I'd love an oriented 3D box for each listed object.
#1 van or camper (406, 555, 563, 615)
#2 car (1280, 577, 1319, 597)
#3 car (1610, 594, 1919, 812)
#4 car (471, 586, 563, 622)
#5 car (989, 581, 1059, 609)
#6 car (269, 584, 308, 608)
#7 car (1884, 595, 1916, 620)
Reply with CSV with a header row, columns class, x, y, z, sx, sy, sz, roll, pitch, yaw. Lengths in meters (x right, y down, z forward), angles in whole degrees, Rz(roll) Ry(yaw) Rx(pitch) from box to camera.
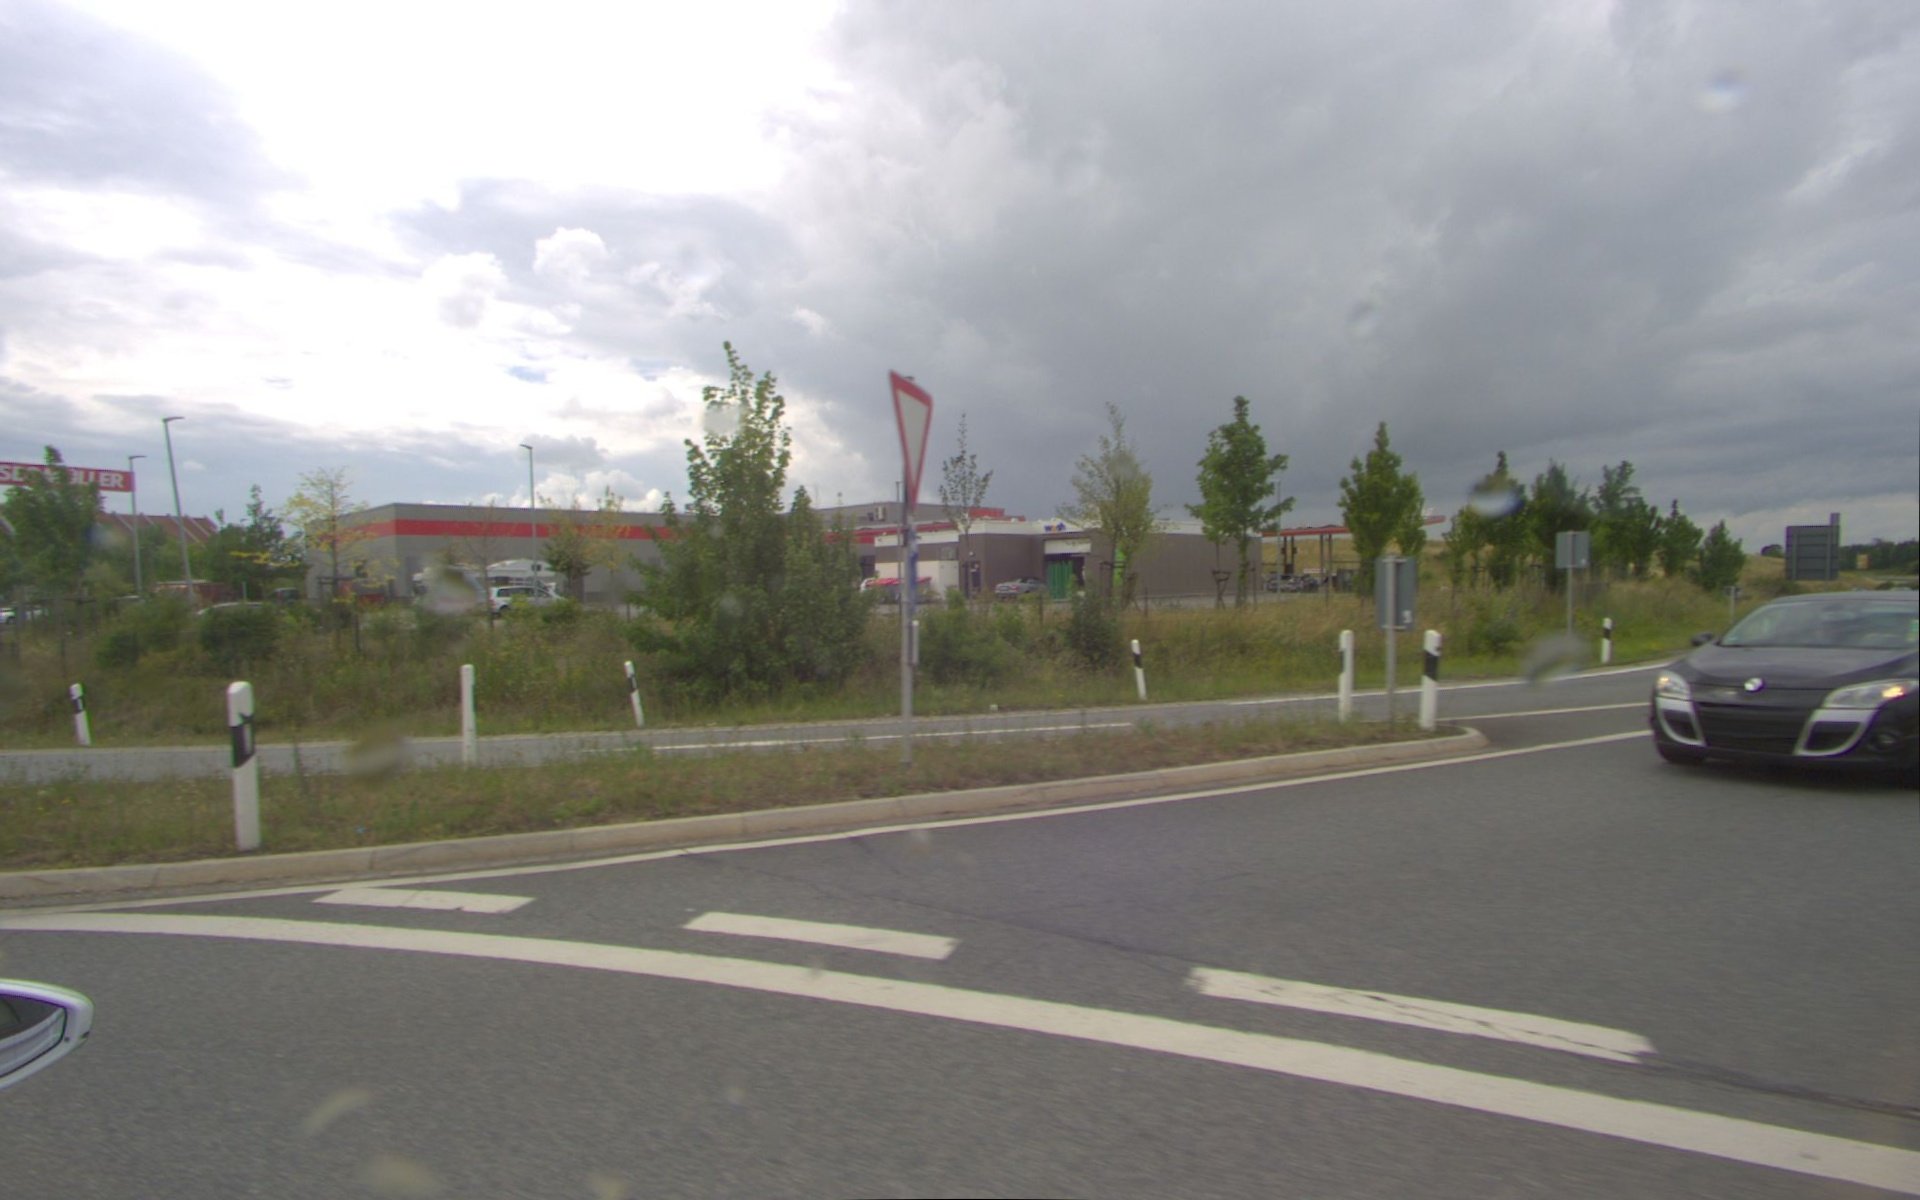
class,x,y,z,sx,sy,sz,roll,pitch,yaw
van or camper,-27.008,-0.939,57.146,2.466,3.222,7.664,1,3,44
car,27.311,-1.058,80.516,1.779,1.558,3.633,-2,0,40
car,7.391,0.660,8.325,4.088,1.388,1.833,-1,0,-33
car,-22.898,0.189,51.838,4.018,1.743,1.764,-2,0,-42
car,3.521,-0.273,54.573,1.652,1.450,3.965,-1,0,42
car,-53.639,-0.327,79.936,3.928,1.836,1.688,0,4,44
car,74.126,0.604,78.996,1.744,1.907,3.965,-1,0,42
